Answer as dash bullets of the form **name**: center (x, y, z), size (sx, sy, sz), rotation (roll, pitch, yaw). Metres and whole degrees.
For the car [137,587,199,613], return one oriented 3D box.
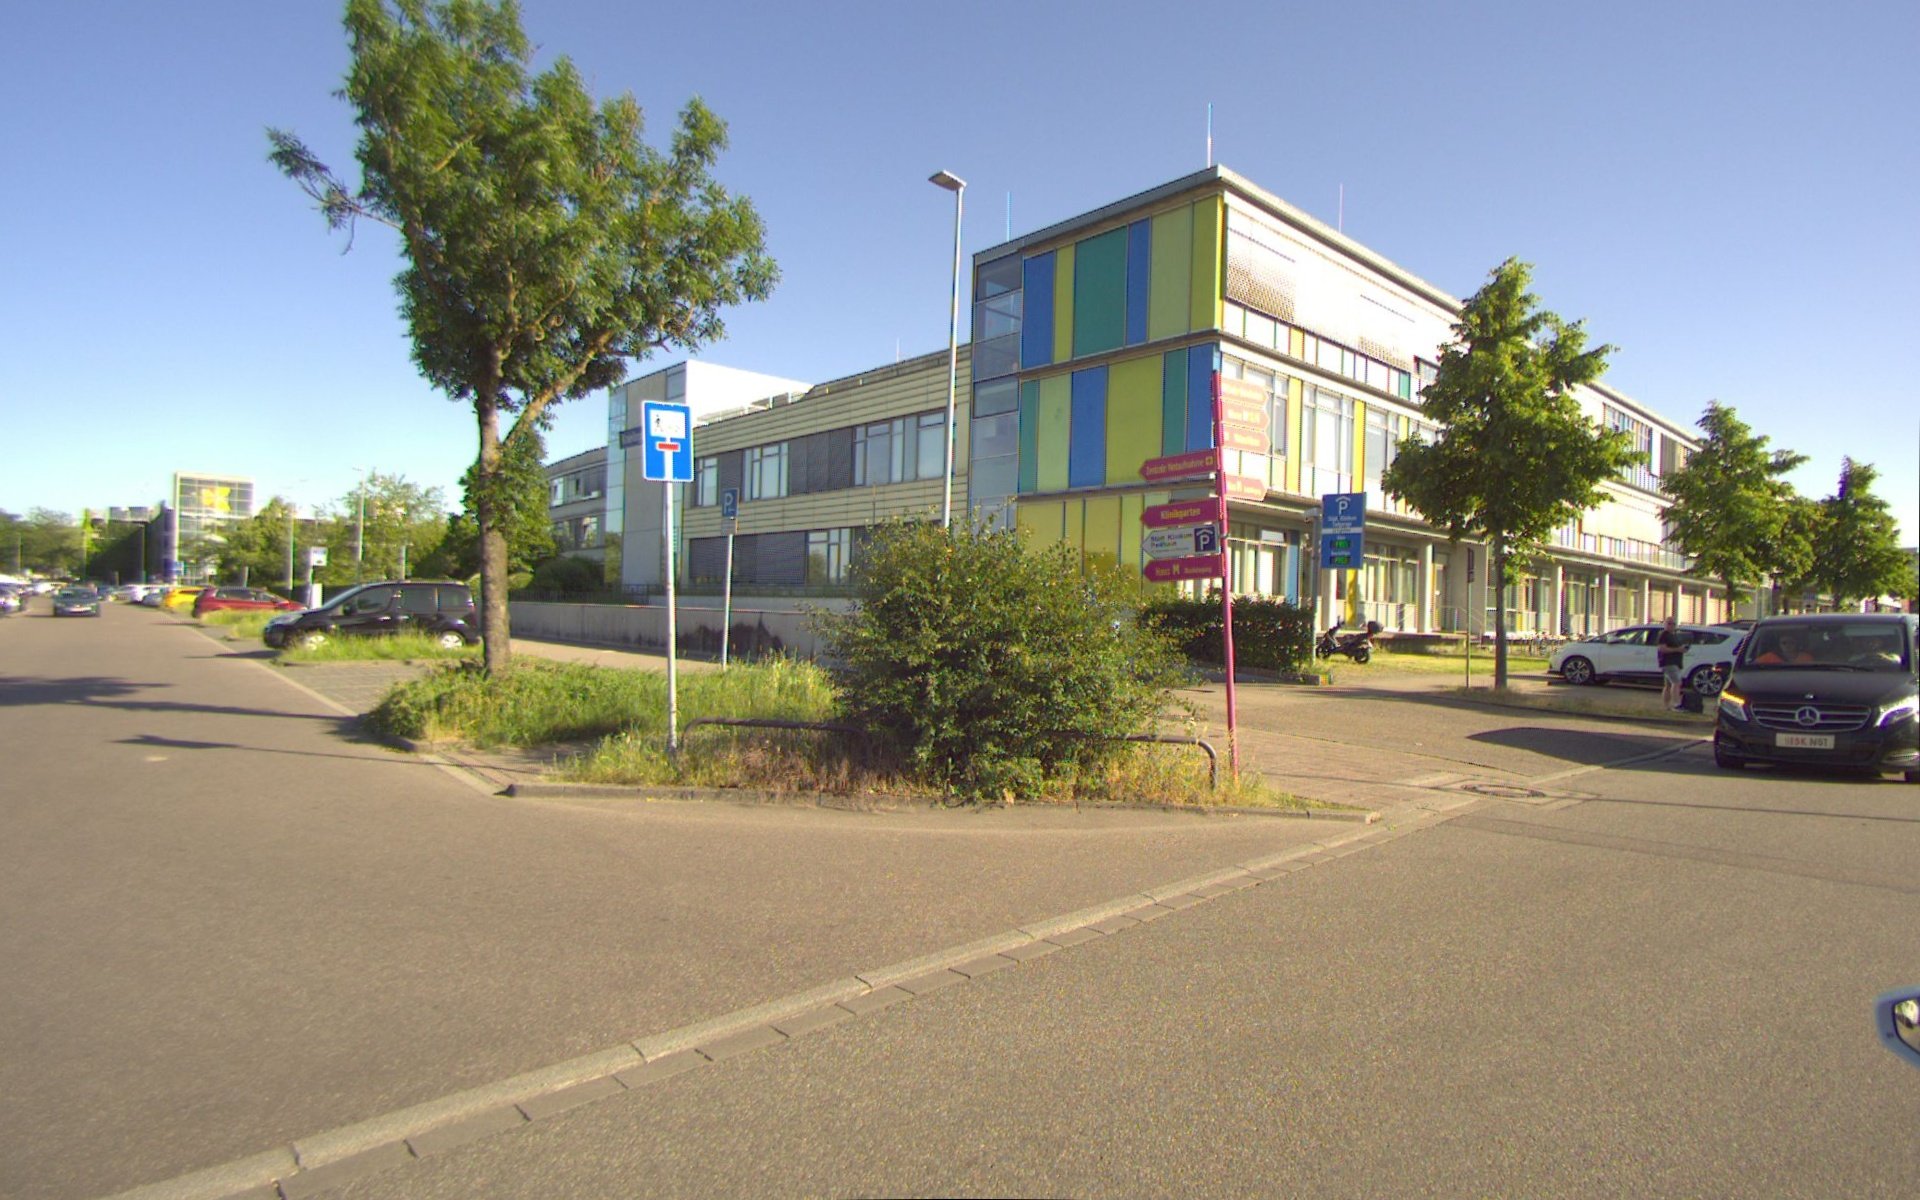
- **car**: center (-66.286, -0.009, 84.101), size (3.970, 2.040, 1.975), rotation (2, -1, -42)

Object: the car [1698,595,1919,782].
- **car**: center (11.074, 1.012, 12.609), size (5.217, 1.892, 1.937), rotation (3, -3, -43)

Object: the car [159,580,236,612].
- **car**: center (-51.464, -0.250, 67.816), size (3.970, 2.040, 1.975), rotation (2, -1, -42)

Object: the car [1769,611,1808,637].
- **car**: center (70.309, 2.068, 85.252), size (3.971, 2.040, 1.975), rotation (3, -1, -42)

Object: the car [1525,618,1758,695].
- **car**: center (17.233, 1.369, 25.606), size (1.851, 1.673, 4.576), rotation (2, -1, -38)

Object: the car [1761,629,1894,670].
- **car**: center (35.294, 1.968, 40.928), size (1.732, 1.377, 3.946), rotation (2, 1, -45)

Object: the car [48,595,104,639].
- **car**: center (-44.123, 0.832, 50.180), size (1.985, 2.040, 3.952), rotation (2, 0, -41)

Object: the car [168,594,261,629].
- **car**: center (-44.117, 0.668, 59.532), size (4.352, 1.965, 1.979), rotation (2, 0, -37)

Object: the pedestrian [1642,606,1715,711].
- **pedestrian**: center (13.444, 1.070, 18.790), size (0.819, 1.867, 0.850), rotation (2, 2, -40)

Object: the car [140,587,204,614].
- **car**: center (-64.226, 0.042, 81.912), size (3.970, 2.040, 1.975), rotation (2, -1, -42)

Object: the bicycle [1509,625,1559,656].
- **bicycle**: center (22.807, 1.611, 39.876), size (1.971, 1.169, 0.864), rotation (3, 1, -33)

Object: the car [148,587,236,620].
- **car**: center (-49.312, 0.236, 64.532), size (4.360, 2.040, 1.975), rotation (2, -1, -42)

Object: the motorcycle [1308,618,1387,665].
- **motorcycle**: center (10.999, 1.159, 28.575), size (0.496, 1.165, 2.023), rotation (1, 3, -43)

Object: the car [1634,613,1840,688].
- **car**: center (23.649, 1.468, 30.729), size (1.813, 1.890, 4.700), rotation (1, 1, -41)

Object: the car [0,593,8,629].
- **car**: center (-36.422, 0.353, 35.614), size (3.819, 1.280, 1.492), rotation (2, -3, -43)

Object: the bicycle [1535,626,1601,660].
- **bicycle**: center (23.274, 1.628, 38.454), size (2.338, 1.169, 0.867), rotation (3, 1, -21)

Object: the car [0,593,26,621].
- **car**: center (-46.358, 0.311, 47.119), size (3.662, 1.280, 1.492), rotation (2, -3, -43)

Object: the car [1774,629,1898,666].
- **car**: center (40.164, 2.160, 46.123), size (1.860, 1.481, 4.171), rotation (2, -1, -45)

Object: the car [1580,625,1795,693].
- **car**: center (19.448, 1.520, 27.016), size (1.813, 1.521, 4.395), rotation (2, -1, -41)

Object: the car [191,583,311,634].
- **car**: center (-30.034, 0.379, 42.606), size (3.970, 2.040, 1.975), rotation (2, -1, -42)

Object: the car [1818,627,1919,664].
- **car**: center (47.748, 2.365, 52.542), size (1.860, 1.624, 4.170), rotation (2, 1, -45)

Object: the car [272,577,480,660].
- **car**: center (-13.605, 0.445, 23.510), size (4.064, 1.813, 1.495), rotation (2, 0, -36)

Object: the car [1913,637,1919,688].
- **car**: center (29.631, 1.863, 29.956), size (1.686, 1.470, 4.060), rotation (-1, -2, 45)

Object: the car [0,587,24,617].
- **car**: center (-44.654, 0.062, 45.214), size (3.662, 1.280, 1.492), rotation (2, -3, -43)
